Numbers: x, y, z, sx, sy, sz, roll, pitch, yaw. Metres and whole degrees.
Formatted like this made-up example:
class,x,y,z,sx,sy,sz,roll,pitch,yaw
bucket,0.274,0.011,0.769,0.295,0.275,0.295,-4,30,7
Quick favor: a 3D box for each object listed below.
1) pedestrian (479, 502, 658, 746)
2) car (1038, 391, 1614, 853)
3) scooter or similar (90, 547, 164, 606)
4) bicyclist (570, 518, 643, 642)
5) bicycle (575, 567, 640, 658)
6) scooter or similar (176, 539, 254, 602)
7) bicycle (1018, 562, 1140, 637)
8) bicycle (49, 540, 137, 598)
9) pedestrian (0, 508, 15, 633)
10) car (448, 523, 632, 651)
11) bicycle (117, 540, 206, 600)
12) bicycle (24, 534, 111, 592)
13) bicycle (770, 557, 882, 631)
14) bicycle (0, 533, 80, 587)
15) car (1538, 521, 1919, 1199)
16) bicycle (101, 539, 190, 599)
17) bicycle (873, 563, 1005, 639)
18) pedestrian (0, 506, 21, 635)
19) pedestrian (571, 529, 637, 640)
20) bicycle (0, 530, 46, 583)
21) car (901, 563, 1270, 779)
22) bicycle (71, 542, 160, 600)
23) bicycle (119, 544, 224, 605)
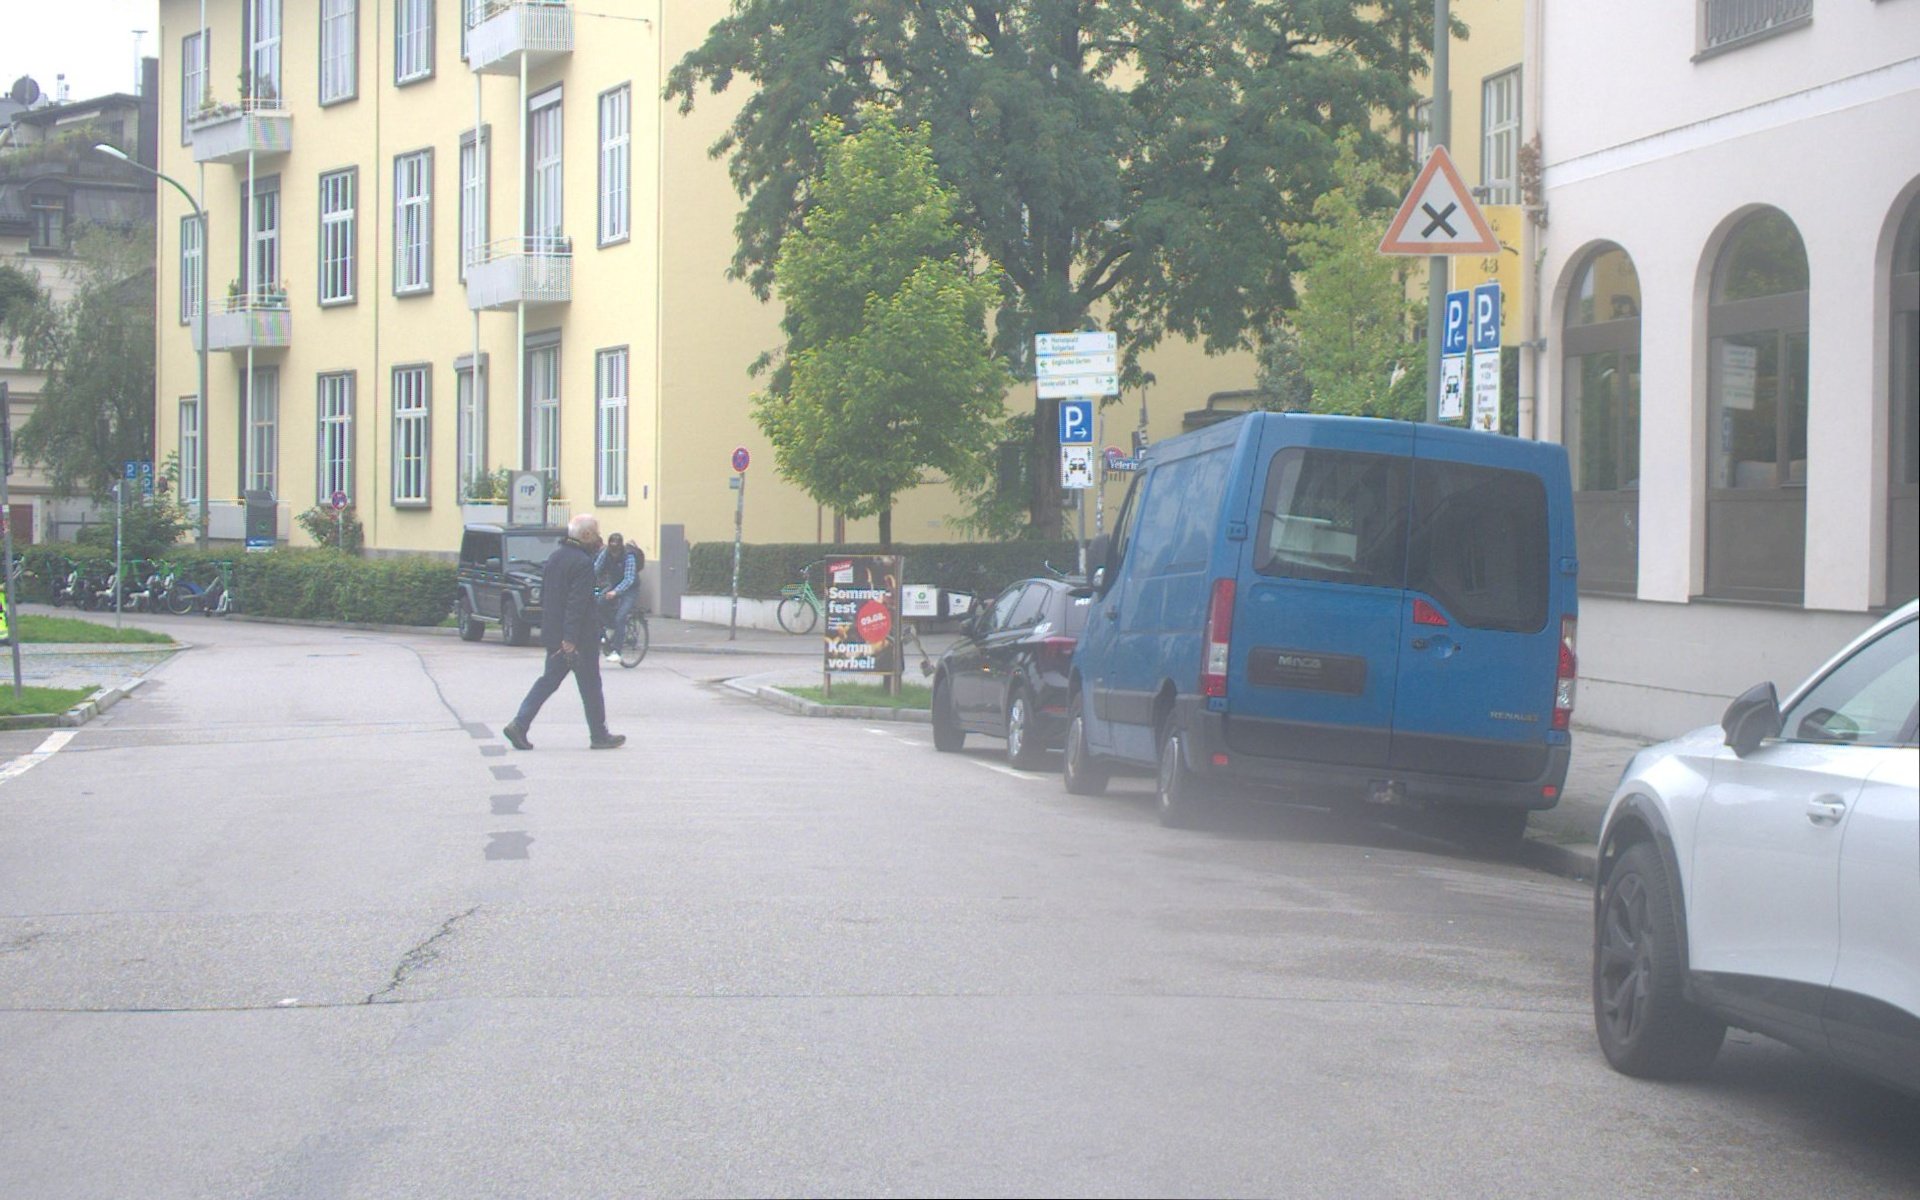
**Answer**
class,x,y,z,sx,sy,sz,roll,pitch,yaw
pedestrian,-2.953,0.187,25.951,0.934,1.795,0.954,-1,-1,43
car,1.959,0.109,20.349,2.078,2.226,5.246,5,0,-7
scooter or similar,-18.677,-0.531,77.147,0.733,1.301,1.728,1,1,22
bicyclist,-4.652,-0.261,45.232,0.863,1.602,0.947,1,0,-10
bicycle,-4.632,0.157,45.124,0.670,1.155,2.004,1,1,-11
scooter or similar,-15.875,-0.641,73.287,0.732,1.301,2.155,1,1,14
bicycle,1.960,-0.013,56.654,1.921,1.197,0.595,1,1,-5
bicycle,-19.720,-0.712,78.255,0.733,1.301,2.153,1,1,26
pedestrian,-15.817,-0.486,55.475,0.931,2.007,0.957,1,1,-5
car,-6.978,-0.248,56.803,1.762,1.868,4.380,4,0,-23
bicycle,-17.650,-0.668,76.058,0.733,1.301,2.153,1,1,26
bicycle,-20.713,-0.866,79.860,0.733,1.301,2.153,1,1,26
bicycle,-2.259,-0.108,57.814,1.926,1.197,0.594,2,1,36
bicycle,-22.562,-0.980,83.602,2.148,1.301,0.734,0,1,-27
car,2.970,0.631,8.350,1.785,1.528,4.649,4,1,-7
bicycle,-18.198,-0.700,76.835,0.733,1.301,2.153,1,1,26
bicycle,-0.344,0.005,56.653,2.068,1.197,0.595,1,1,13
pedestrian,-15.329,-0.479,54.069,0.931,2.007,0.957,1,1,-5
pedestrian,-5.910,-0.264,57.024,0.874,1.817,0.798,0,1,-21
bicycle,-23.854,-1.075,85.314,2.148,1.301,0.734,0,1,-27
car,0.867,0.486,26.494,1.676,1.384,4.307,4,0,-13
bicycle,-19.067,-0.664,77.659,0.733,1.301,2.153,1,1,26
bicycle,-16.975,-0.555,74.033,0.734,1.301,2.150,2,1,43
